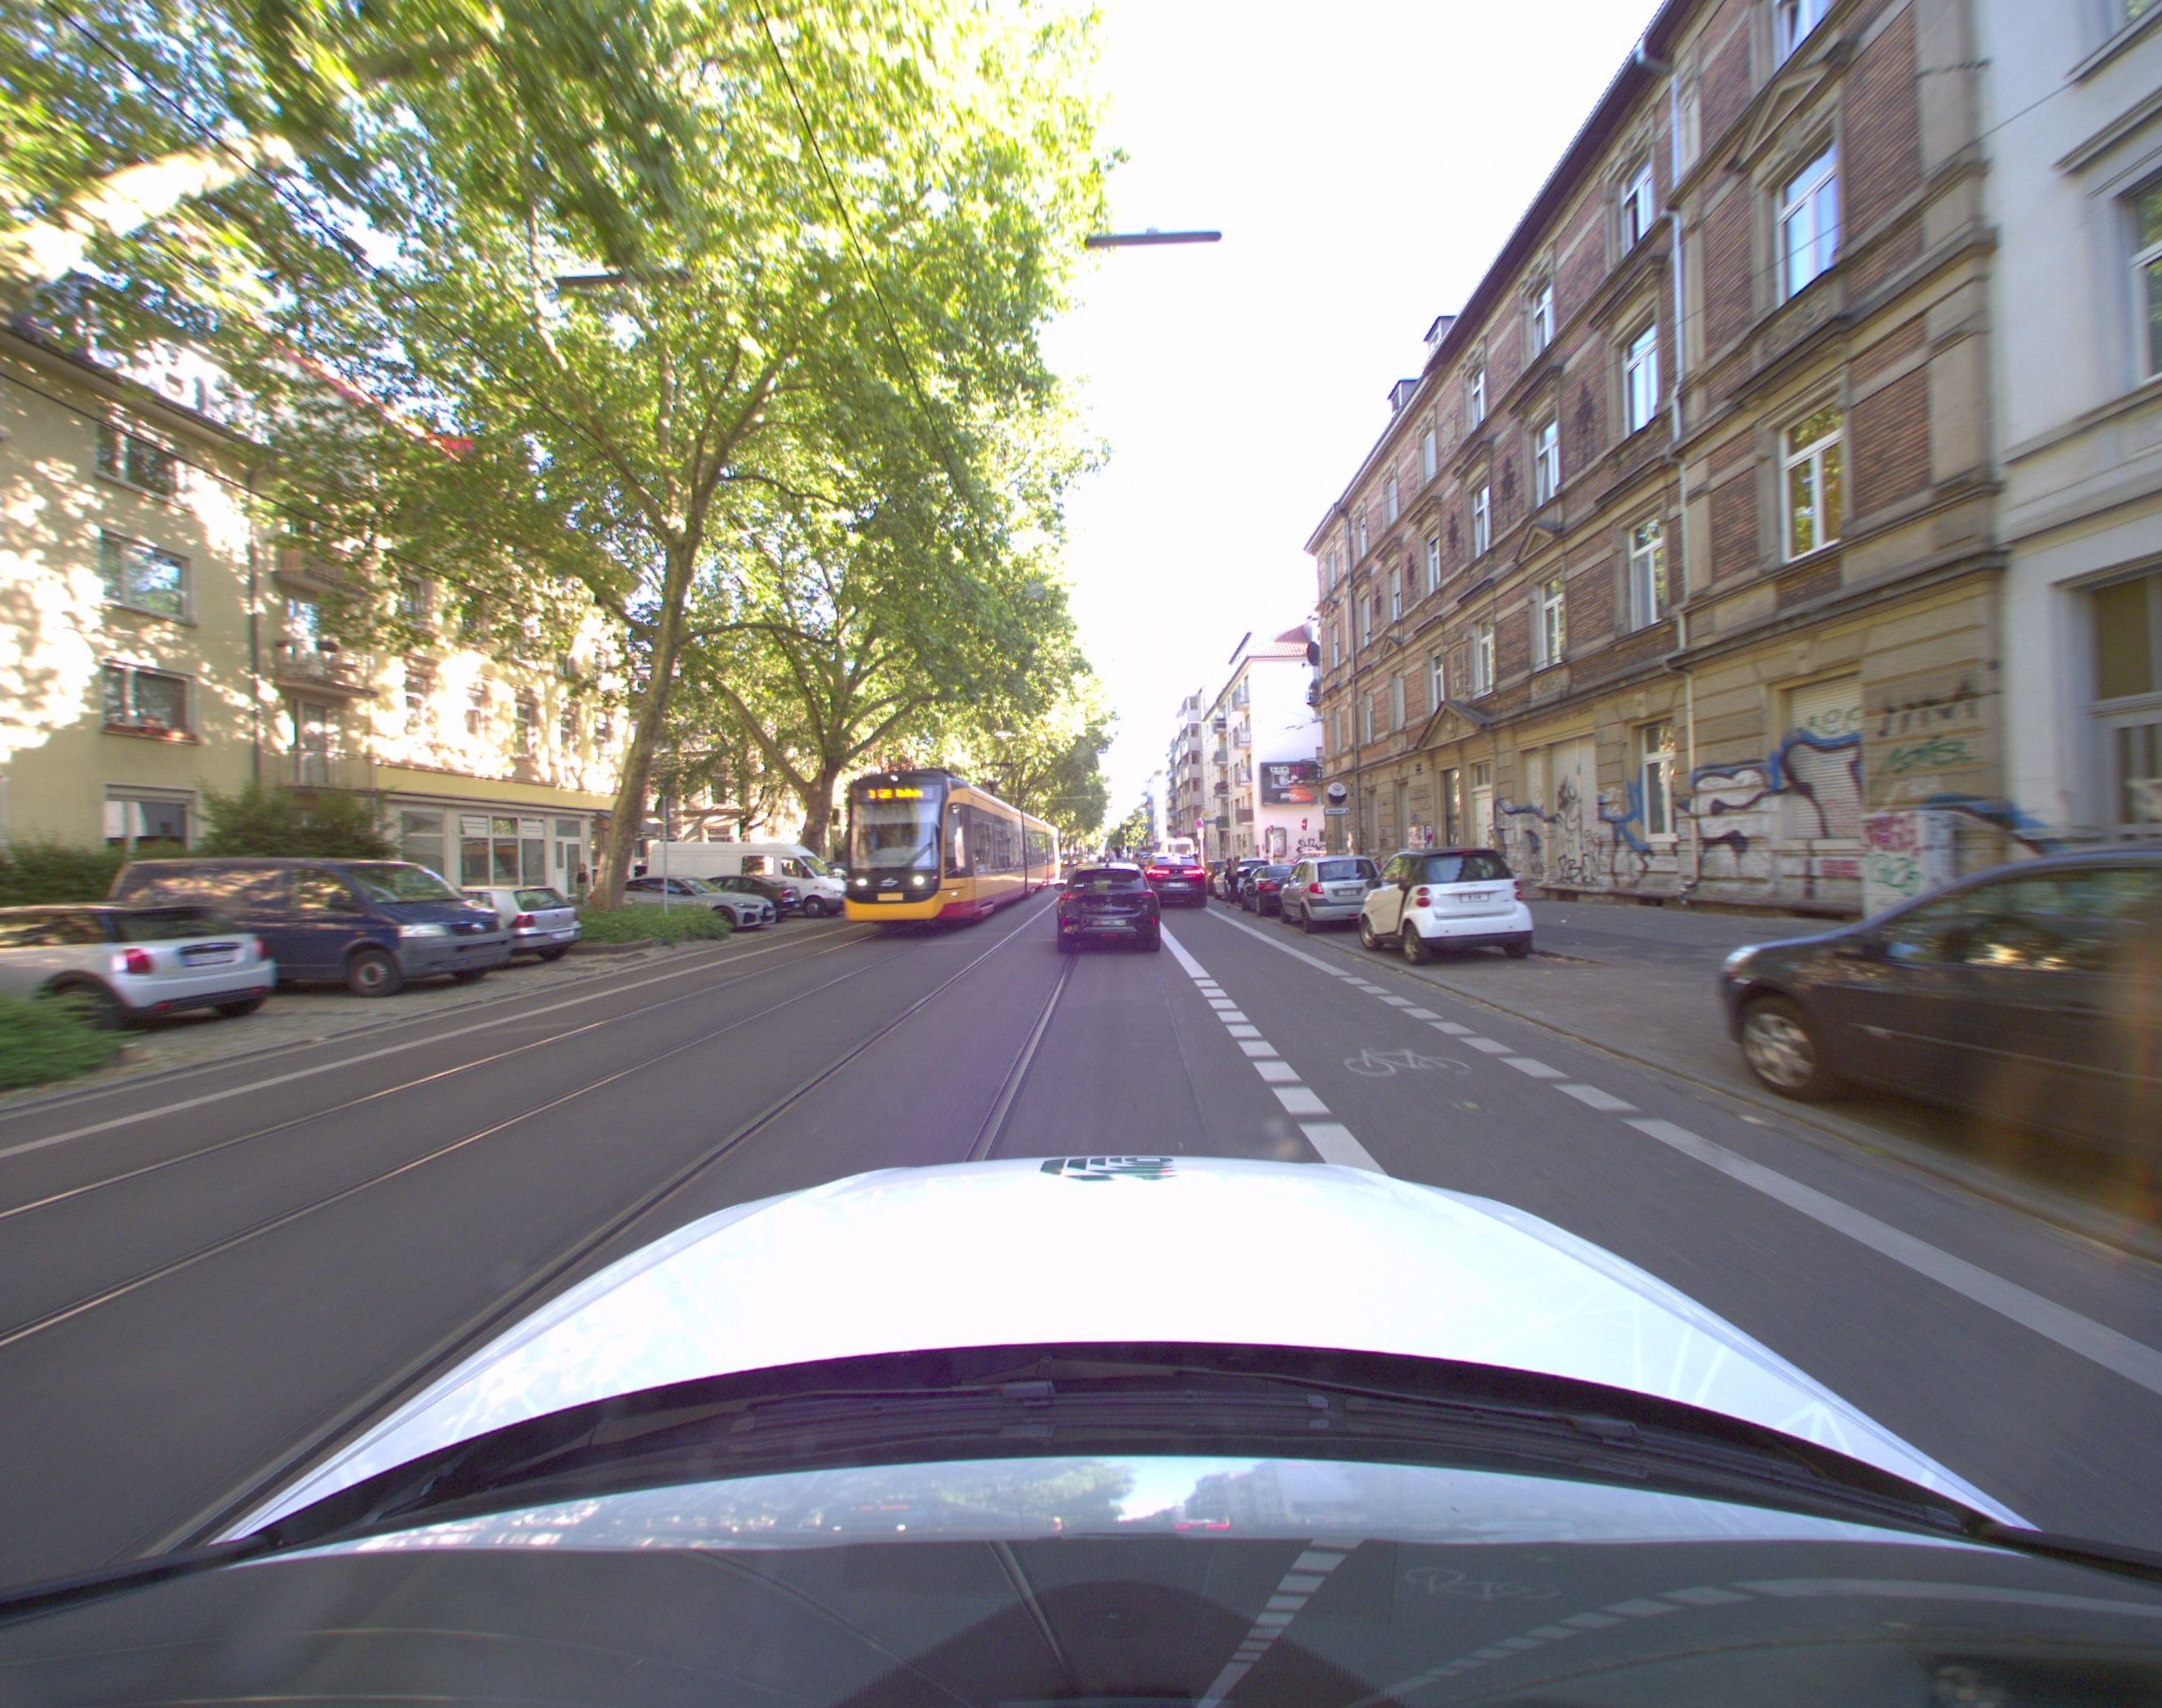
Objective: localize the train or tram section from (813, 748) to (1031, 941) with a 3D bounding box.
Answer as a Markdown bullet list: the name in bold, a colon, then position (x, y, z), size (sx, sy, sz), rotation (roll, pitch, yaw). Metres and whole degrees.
- **train or tram section**: position (-3.518, -0.153, 22.281), size (2.723, 3.682, 12.725), rotation (-2, 0, 3)

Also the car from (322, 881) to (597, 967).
- **car**: position (-11.143, 1.227, 14.779), size (3.720, 1.430, 1.638), rotation (0, -1, 1)

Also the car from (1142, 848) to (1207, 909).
- **car**: position (2.901, 0.738, 25.967), size (1.802, 1.742, 3.936), rotation (-2, 0, 3)

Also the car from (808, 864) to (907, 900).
- **car**: position (-9.931, 1.231, 36.367), size (3.909, 1.577, 1.676), rotation (0, -1, -2)

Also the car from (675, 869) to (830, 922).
- **car**: position (-9.701, 1.222, 24.276), size (3.909, 1.498, 1.676), rotation (0, -1, -2)

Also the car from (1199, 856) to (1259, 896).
- **car**: position (5.912, 0.847, 32.883), size (1.802, 1.379, 3.936), rotation (-5, -1, 3)

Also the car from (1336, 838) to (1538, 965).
- **car**: position (5.122, 0.633, 12.144), size (1.563, 1.517, 3.039), rotation (-5, -1, -1)

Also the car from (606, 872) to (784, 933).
- **car**: position (-10.141, 1.249, 21.582), size (3.904, 1.498, 1.678), rotation (0, -1, 2)

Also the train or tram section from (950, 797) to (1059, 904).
- **train or tram section**: position (-2.885, -0.094, 35.016), size (2.723, 3.682, 12.725), rotation (-2, 0, 3)

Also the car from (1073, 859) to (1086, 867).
- **car**: position (-0.226, 1.529, 138.855), size (1.802, 1.338, 3.936), rotation (-5, -1, 3)

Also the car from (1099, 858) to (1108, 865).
- **car**: position (4.625, 1.508, 165.698), size (1.803, 1.338, 3.935), rotation (-1, 0, 2)

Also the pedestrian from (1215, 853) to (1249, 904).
- **pedestrian**: position (4.723, 0.757, 25.454), size (0.859, 1.567, 0.772), rotation (-1, -1, 22)

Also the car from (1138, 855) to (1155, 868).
- **car**: position (7.617, 0.869, 95.487), size (1.802, 1.338, 3.936), rotation (-5, -1, 3)

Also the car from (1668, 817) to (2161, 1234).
- **car**: position (4.839, 0.613, 3.611), size (1.705, 1.483, 3.764), rotation (-5, -1, 1)

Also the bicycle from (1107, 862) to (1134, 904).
- **bicycle**: position (1.383, 1.013, 29.140), size (0.857, 1.407, 2.524), rotation (-1, 0, 1)

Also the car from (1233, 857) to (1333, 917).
- **car**: position (5.304, 0.818, 21.881), size (1.802, 1.338, 3.936), rotation (-5, -1, 3)

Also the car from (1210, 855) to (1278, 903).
- **car**: position (5.546, 0.814, 28.190), size (1.655, 1.419, 3.936), rotation (-5, -1, 3)

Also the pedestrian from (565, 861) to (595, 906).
- **pedestrian**: position (-17.151, 1.001, 27.865), size (0.660, 1.498, 0.626), rotation (0, -1, -8)

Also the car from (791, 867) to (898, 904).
- **car**: position (-9.765, 1.279, 33.831), size (3.909, 1.498, 1.676), rotation (0, -1, -2)

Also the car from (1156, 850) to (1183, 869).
- **car**: position (6.926, 0.432, 63.927), size (1.802, 1.338, 3.936), rotation (-5, -1, 3)

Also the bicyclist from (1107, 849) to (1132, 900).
- **bicyclist**: position (1.365, 0.718, 28.999), size (0.845, 1.740, 1.162), rotation (-1, -1, 0)

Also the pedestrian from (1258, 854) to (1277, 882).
- **pedestrian**: position (10.420, 0.766, 45.552), size (0.863, 1.567, 0.768), rotation (-1, -1, 0)

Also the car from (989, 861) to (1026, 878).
- **car**: position (-7.972, 1.700, 88.685), size (3.909, 1.790, 1.676), rotation (0, -1, -2)

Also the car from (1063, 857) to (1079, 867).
- **car**: position (-1.326, 1.042, 107.918), size (1.802, 1.338, 3.936), rotation (-1, 0, 3)

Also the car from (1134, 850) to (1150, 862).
- **car**: position (7.879, 0.263, 105.201), size (1.802, 1.338, 3.936), rotation (-5, -1, 3)

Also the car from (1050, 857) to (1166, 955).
- **car**: position (0.475, 0.819, 14.469), size (1.787, 1.441, 3.532), rotation (-1, 0, 1)

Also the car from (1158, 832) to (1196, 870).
- **car**: position (6.421, -0.186, 54.798), size (2.067, 2.219, 4.937), rotation (-5, -1, 3)

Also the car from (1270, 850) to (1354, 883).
- **car**: position (13.396, 0.710, 47.391), size (4.362, 1.798, 1.876), rotation (-1, 0, 0)

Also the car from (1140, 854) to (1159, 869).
- **car**: position (7.284, 0.788, 87.292), size (1.802, 1.338, 3.936), rotation (-5, -1, 3)

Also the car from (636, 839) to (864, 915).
- **car**: position (-10.926, 0.751, 27.310), size (6.603, 2.409, 2.459), rotation (0, -1, 1)

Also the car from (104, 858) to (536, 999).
- **car**: position (-11.143, 1.025, 12.188), size (4.656, 1.924, 1.981), rotation (0, -1, 2)

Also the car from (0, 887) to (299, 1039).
- **car**: position (-11.647, 1.163, 9.312), size (3.720, 1.498, 1.747), rotation (0, -1, 1)

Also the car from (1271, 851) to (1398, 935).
- **car**: position (5.205, 0.743, 17.197), size (1.697, 1.456, 3.702), rotation (-5, -1, 5)

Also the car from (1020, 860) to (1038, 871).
- **car**: position (-6.689, 1.514, 105.277), size (1.802, 1.338, 3.936), rotation (-1, 0, 3)

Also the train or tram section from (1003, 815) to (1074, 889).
- **train or tram section**: position (-2.201, -0.064, 47.747), size (2.723, 3.682, 12.725), rotation (-2, 0, 3)
